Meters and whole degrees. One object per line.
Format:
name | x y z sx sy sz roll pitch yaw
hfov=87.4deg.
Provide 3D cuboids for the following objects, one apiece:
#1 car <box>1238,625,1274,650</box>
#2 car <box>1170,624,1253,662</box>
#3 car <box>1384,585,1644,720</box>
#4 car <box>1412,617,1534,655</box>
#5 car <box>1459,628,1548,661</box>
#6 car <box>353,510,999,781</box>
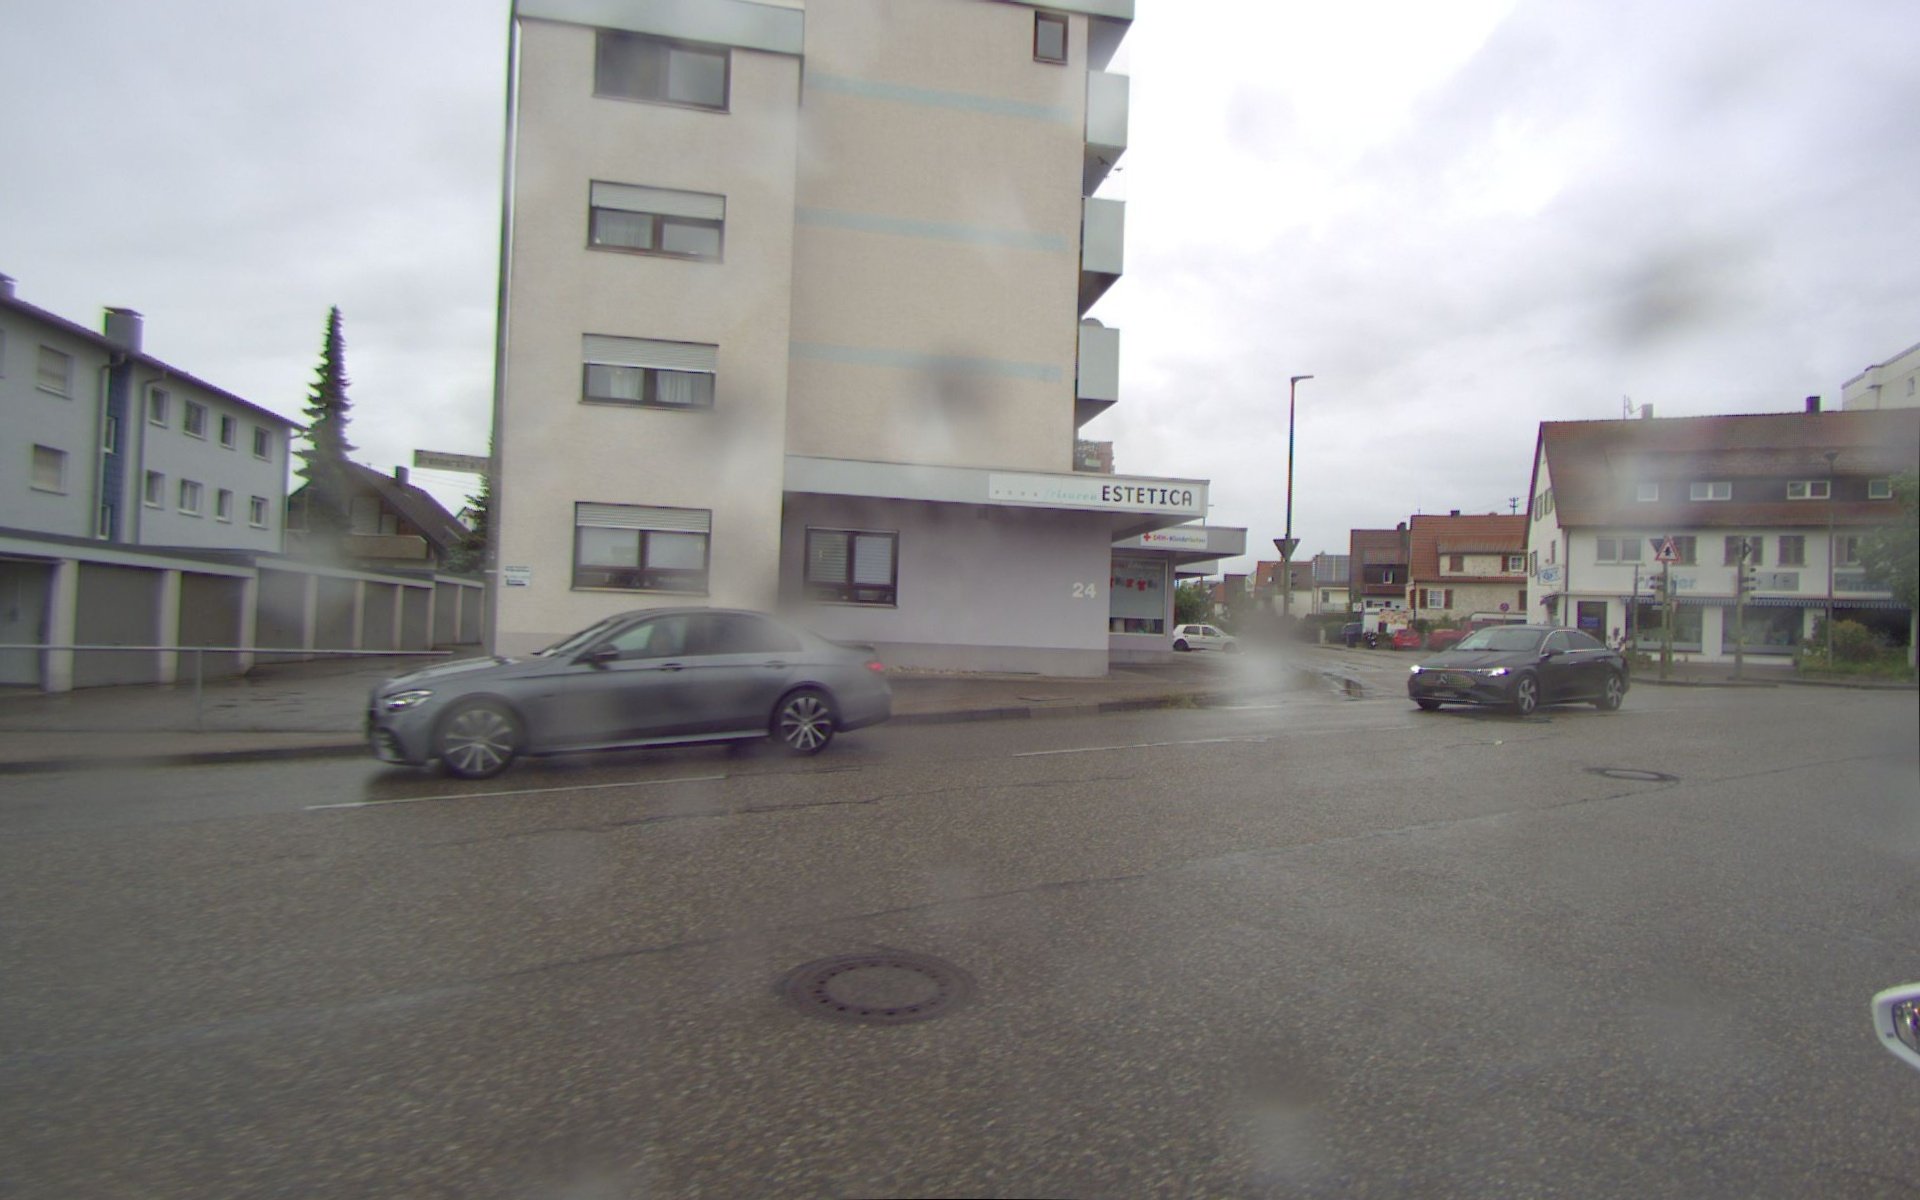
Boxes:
car | 18.148 2.269 61.643 1.797 1.453 4.291 1 -1 13
car | 12.870 2.169 51.360 3.844 1.756 1.833 1 -1 25
car | 9.577 0.856 17.258 4.602 2.040 1.982 2 -1 -33
car | 28.088 1.937 55.218 5.736 1.866 2.000 1 -1 19
car | 28.195 2.296 52.254 3.925 1.546 1.998 1 -1 25
car | -2.603 0.462 10.103 5.916 2.040 2.078 2 -3 -34
